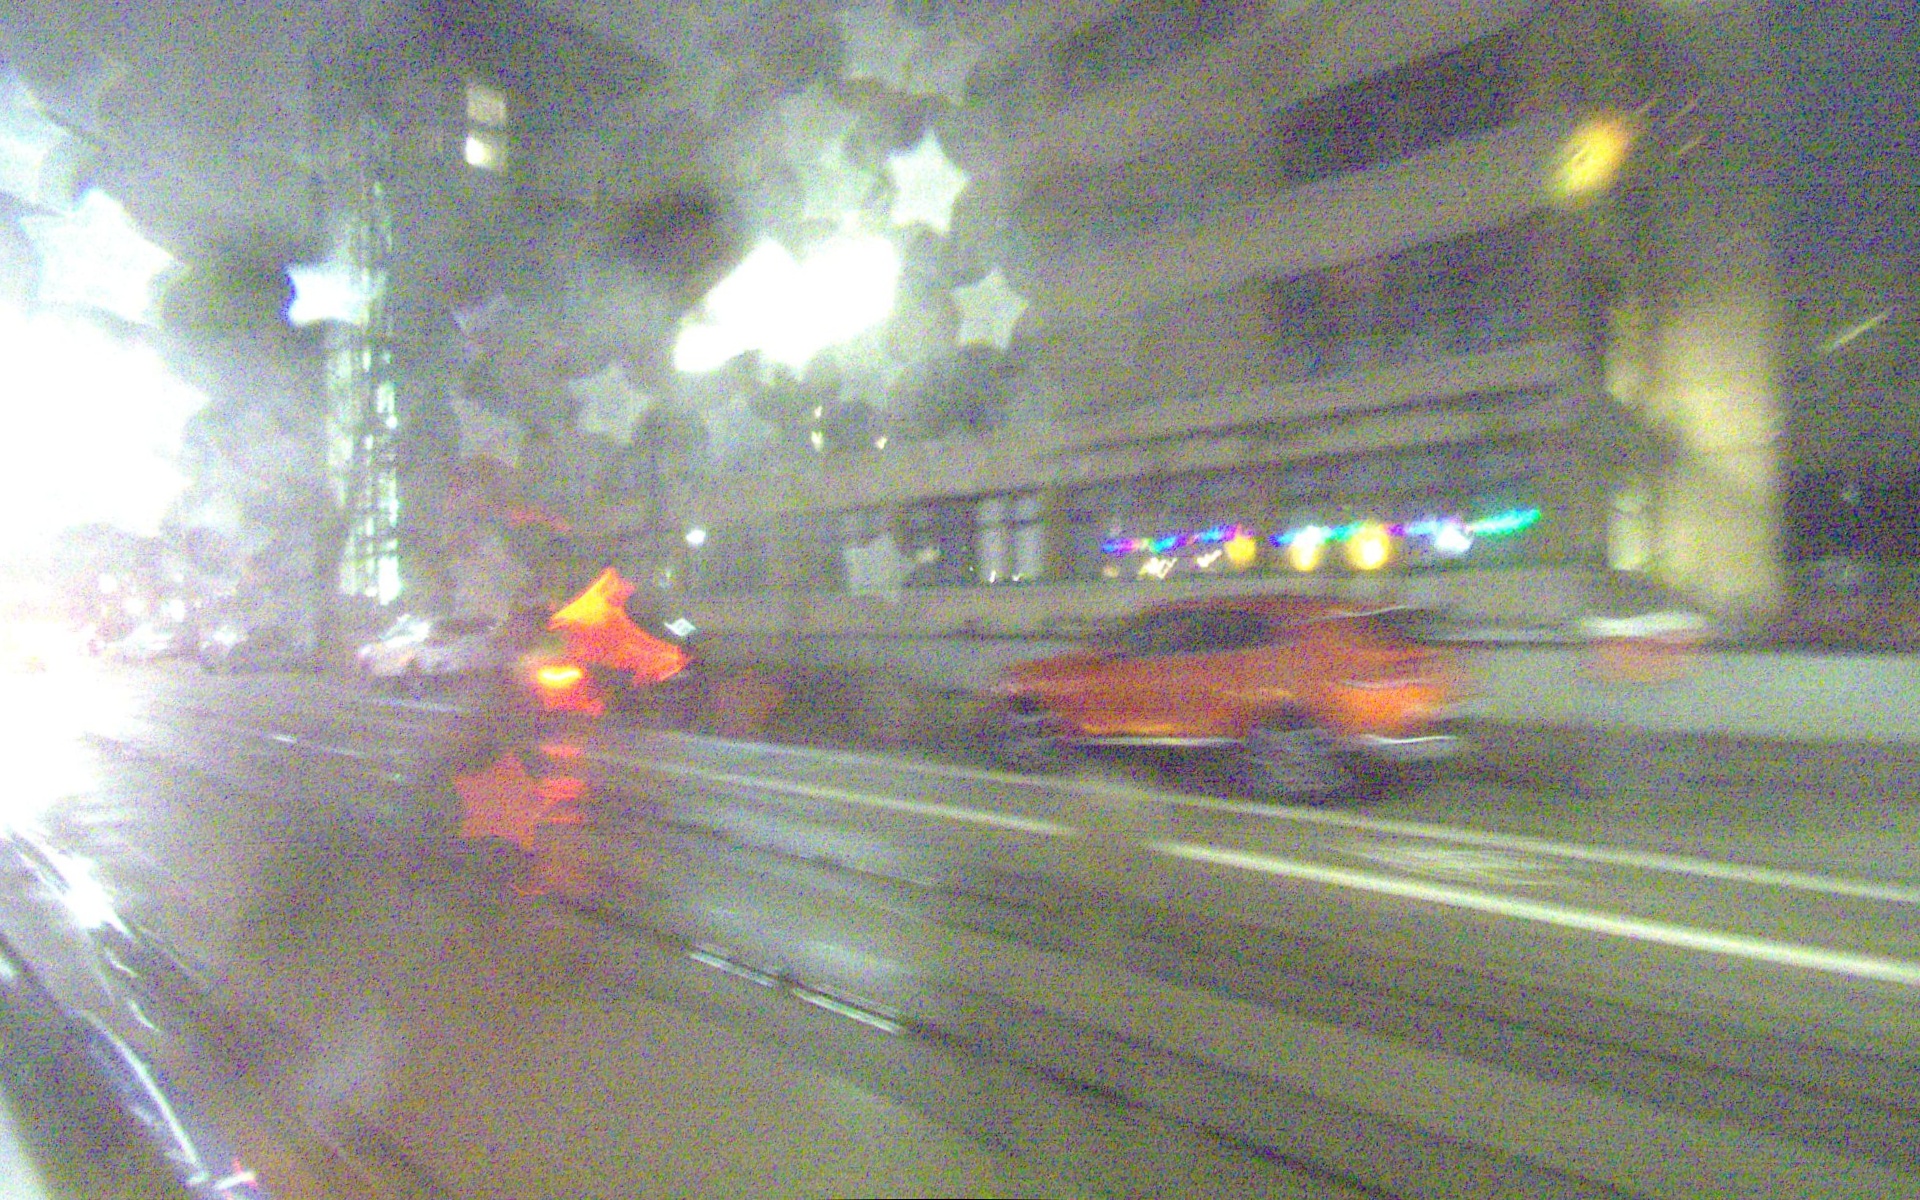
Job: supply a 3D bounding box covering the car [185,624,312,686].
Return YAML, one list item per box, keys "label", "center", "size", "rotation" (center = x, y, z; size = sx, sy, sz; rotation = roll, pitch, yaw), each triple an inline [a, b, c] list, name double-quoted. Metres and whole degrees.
- label: "car"
  center: [-21.368, 1.578, 30.335]
  size: [4.393, 1.556, 1.863]
  rotation: [-1, 3, 38]

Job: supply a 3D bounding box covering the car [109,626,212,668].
- label: "car"
  center: [-30.661, 1.739, 38.764]
  size: [4.951, 1.474, 1.871]
  rotation: [-1, -1, 37]

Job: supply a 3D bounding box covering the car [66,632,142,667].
- label: "car"
  center: [-38.532, 2.178, 45.517]
  size: [4.203, 1.434, 1.822]
  rotation: [-1, -1, 38]

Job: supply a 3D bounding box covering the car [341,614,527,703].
- label: "car"
  center: [-11.223, 1.155, 21.467]
  size: [4.514, 1.643, 1.963]
  rotation: [-1, 0, 41]

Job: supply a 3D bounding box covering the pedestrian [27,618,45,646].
- label: "pedestrian"
  center: [-65.488, 2.257, 71.731]
  size: [1.290, 1.916, 0.784]
  rotation: [-1, 0, 41]

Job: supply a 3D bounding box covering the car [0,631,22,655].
- label: "car"
  center: [-61.565, 2.753, 64.807]
  size: [4.624, 1.449, 1.713]
  rotation: [-1, 0, 41]

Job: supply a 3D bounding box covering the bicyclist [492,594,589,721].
- label: "bicyclist"
  center: [-5.822, 0.775, 14.036]
  size: [1.205, 1.668, 0.774]
  rotation: [-1, -2, 41]

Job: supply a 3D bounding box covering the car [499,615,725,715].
- label: "car"
  center: [-5.785, 1.010, 16.643]
  size: [3.909, 1.432, 1.674]
  rotation: [-2, -1, 38]

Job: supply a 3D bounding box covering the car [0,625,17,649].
- label: "car"
  center: [-69.151, 2.688, 72.491]
  size: [4.351, 1.590, 1.791]
  rotation: [-2, 2, 41]

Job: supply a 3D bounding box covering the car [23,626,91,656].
- label: "car"
  center: [-45.663, 2.033, 51.149]
  size: [4.601, 1.451, 1.756]
  rotation: [-1, -1, 38]

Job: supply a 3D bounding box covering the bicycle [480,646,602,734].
- label: "bicycle"
  center: [-5.826, 1.207, 14.025]
  size: [1.917, 1.090, 0.774]
  rotation: [-1, -2, 41]

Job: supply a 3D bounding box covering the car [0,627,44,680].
- label: "car"
  center: [-30.090, 1.654, 31.589]
  size: [4.049, 1.529, 1.757]
  rotation: [-2, 0, 41]

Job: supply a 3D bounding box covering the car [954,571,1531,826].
- label: "car"
  center: [2.313, 0.674, 9.115]
  size: [4.600, 1.668, 1.949]
  rotation: [-1, 2, 42]
